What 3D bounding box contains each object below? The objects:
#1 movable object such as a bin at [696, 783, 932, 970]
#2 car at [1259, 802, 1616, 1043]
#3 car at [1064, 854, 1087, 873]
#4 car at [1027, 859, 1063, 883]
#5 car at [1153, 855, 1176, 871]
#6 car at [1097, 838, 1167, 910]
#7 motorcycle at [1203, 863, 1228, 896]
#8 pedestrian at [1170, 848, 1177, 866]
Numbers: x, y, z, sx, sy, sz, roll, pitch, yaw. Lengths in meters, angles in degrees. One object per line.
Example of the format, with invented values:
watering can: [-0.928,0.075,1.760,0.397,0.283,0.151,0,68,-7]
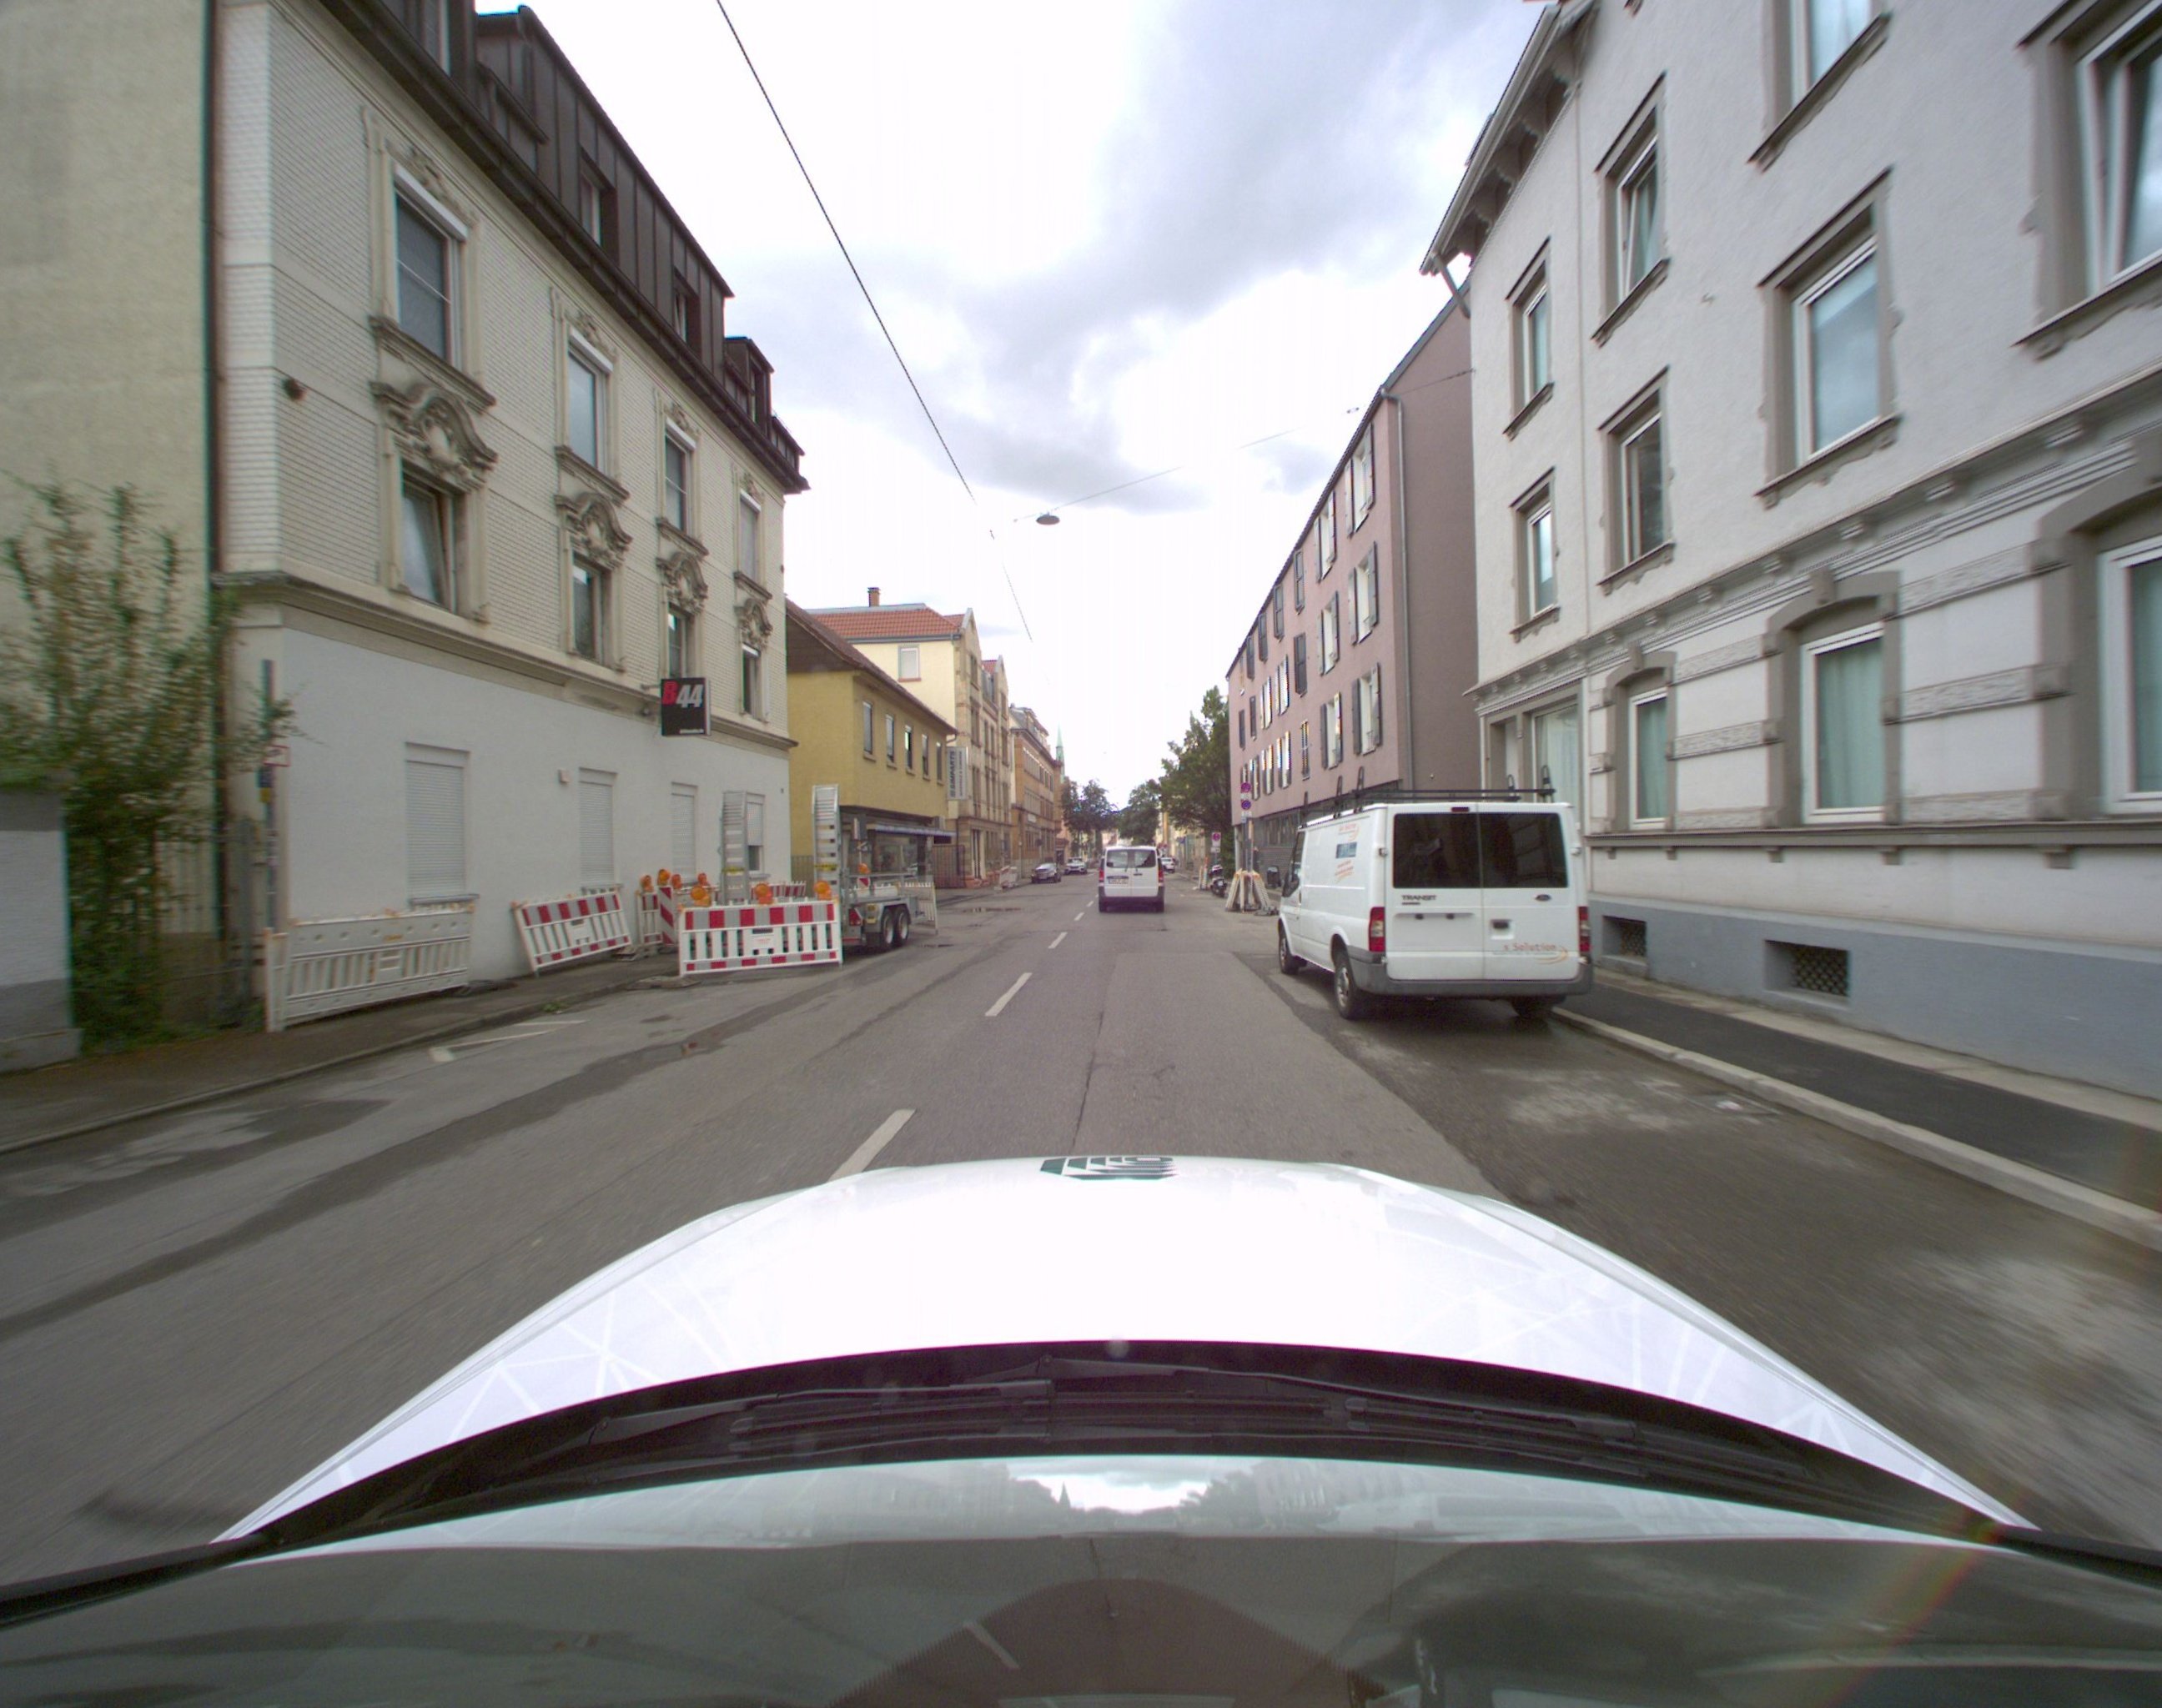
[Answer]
movable object such as a bin: [-4.620,0.351,15.061,2.527,2.825,4.542,-3,0,3]
car: [3.531,0.570,9.313,2.120,2.005,4.929,0,0,2]
car: [-0.516,0.902,80.252,1.985,1.741,4.003,2,0,3]
car: [-2.413,1.120,55.701,1.985,1.442,4.003,-2,0,3]
car: [8.191,0.859,79.834,1.985,1.485,4.003,2,0,3]
car: [1.539,0.568,24.630,1.883,1.929,4.649,-1,0,3]
motorcycle: [5.253,0.978,31.867,0.641,1.246,2.269,-1,0,2]
pedestrian: [10.599,0.372,93.266,0.620,2.013,0.908,2,0,6]
